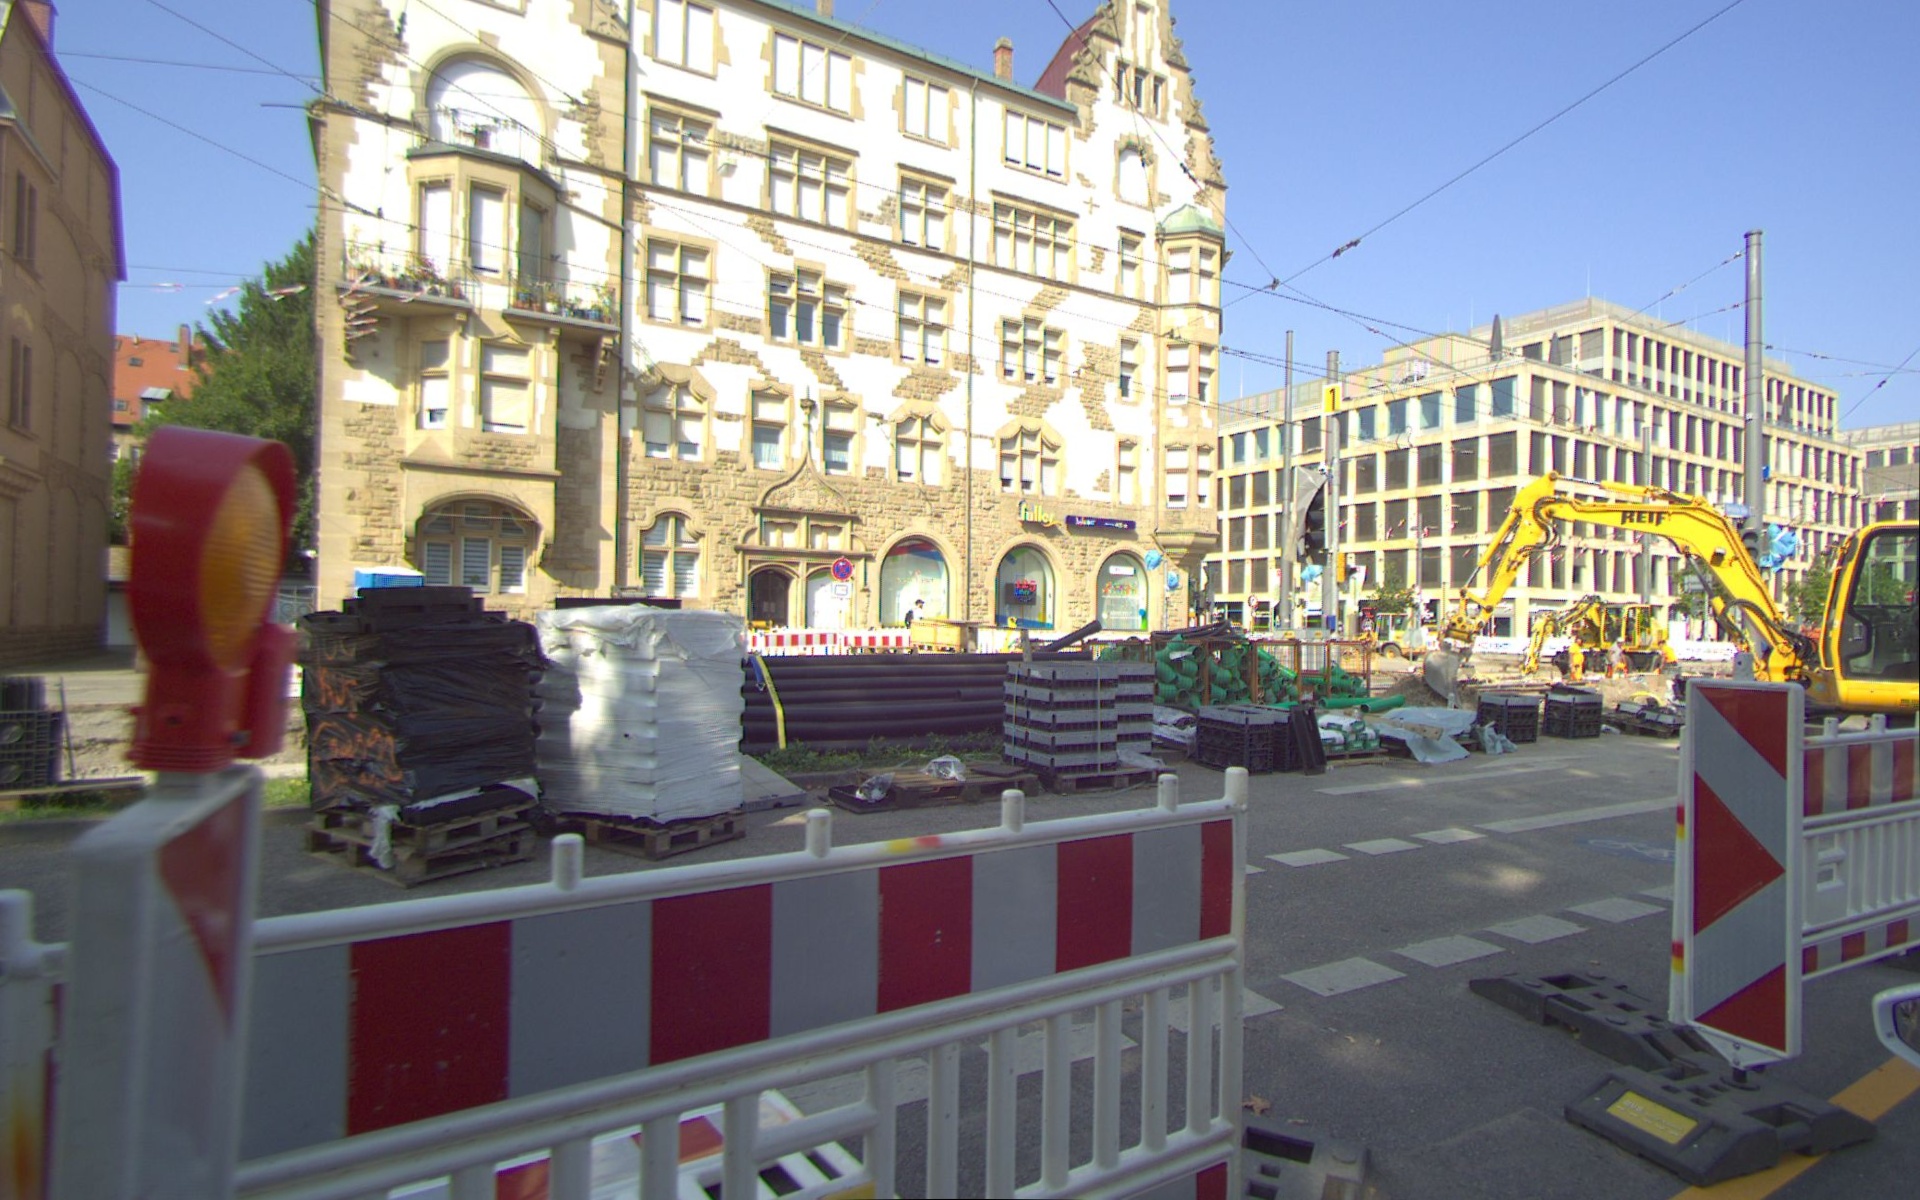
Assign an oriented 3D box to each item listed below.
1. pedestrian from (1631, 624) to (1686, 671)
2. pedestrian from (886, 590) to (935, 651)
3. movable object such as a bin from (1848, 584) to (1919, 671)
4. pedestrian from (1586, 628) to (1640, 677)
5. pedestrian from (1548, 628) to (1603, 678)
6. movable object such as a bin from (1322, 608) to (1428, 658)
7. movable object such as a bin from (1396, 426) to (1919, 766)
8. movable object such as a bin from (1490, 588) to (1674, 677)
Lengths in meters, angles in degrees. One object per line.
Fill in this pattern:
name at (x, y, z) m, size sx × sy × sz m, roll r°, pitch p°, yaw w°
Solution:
pedestrian at (22.463, 1.517, 32.290) m, size 1.008 × 1.461 × 1.137 m, roll 2°, pitch -2°, yaw -30°
pedestrian at (-1.452, 0.611, 29.616) m, size 1.133 × 1.764 × 0.910 m, roll 2°, pitch -2°, yaw -31°
movable object such as a bin at (48.919, 1.368, 48.923) m, size 8.872 × 4.066 × 3.512 m, roll 1°, pitch -1°, yaw -7°
pedestrian at (20.239, 1.613, 31.134) m, size 0.906 × 1.461 × 1.137 m, roll 2°, pitch -2°, yaw -29°
pedestrian at (18.606, 1.603, 30.388) m, size 0.906 × 1.461 × 1.137 m, roll 2°, pitch -2°, yaw -29°
movable object such as a bin at (24.092, 1.898, 58.575) m, size 2.111 × 2.775 × 5.585 m, roll 2°, pitch -2°, yaw -30°
movable object such as a bin at (8.754, -0.018, 12.104) m, size 6.071 × 3.390 × 2.107 m, roll 0°, pitch -1°, yaw 41°
movable object such as a bin at (25.545, 1.374, 41.143) m, size 8.245 × 3.373 × 2.834 m, roll 2°, pitch -2°, yaw -29°
